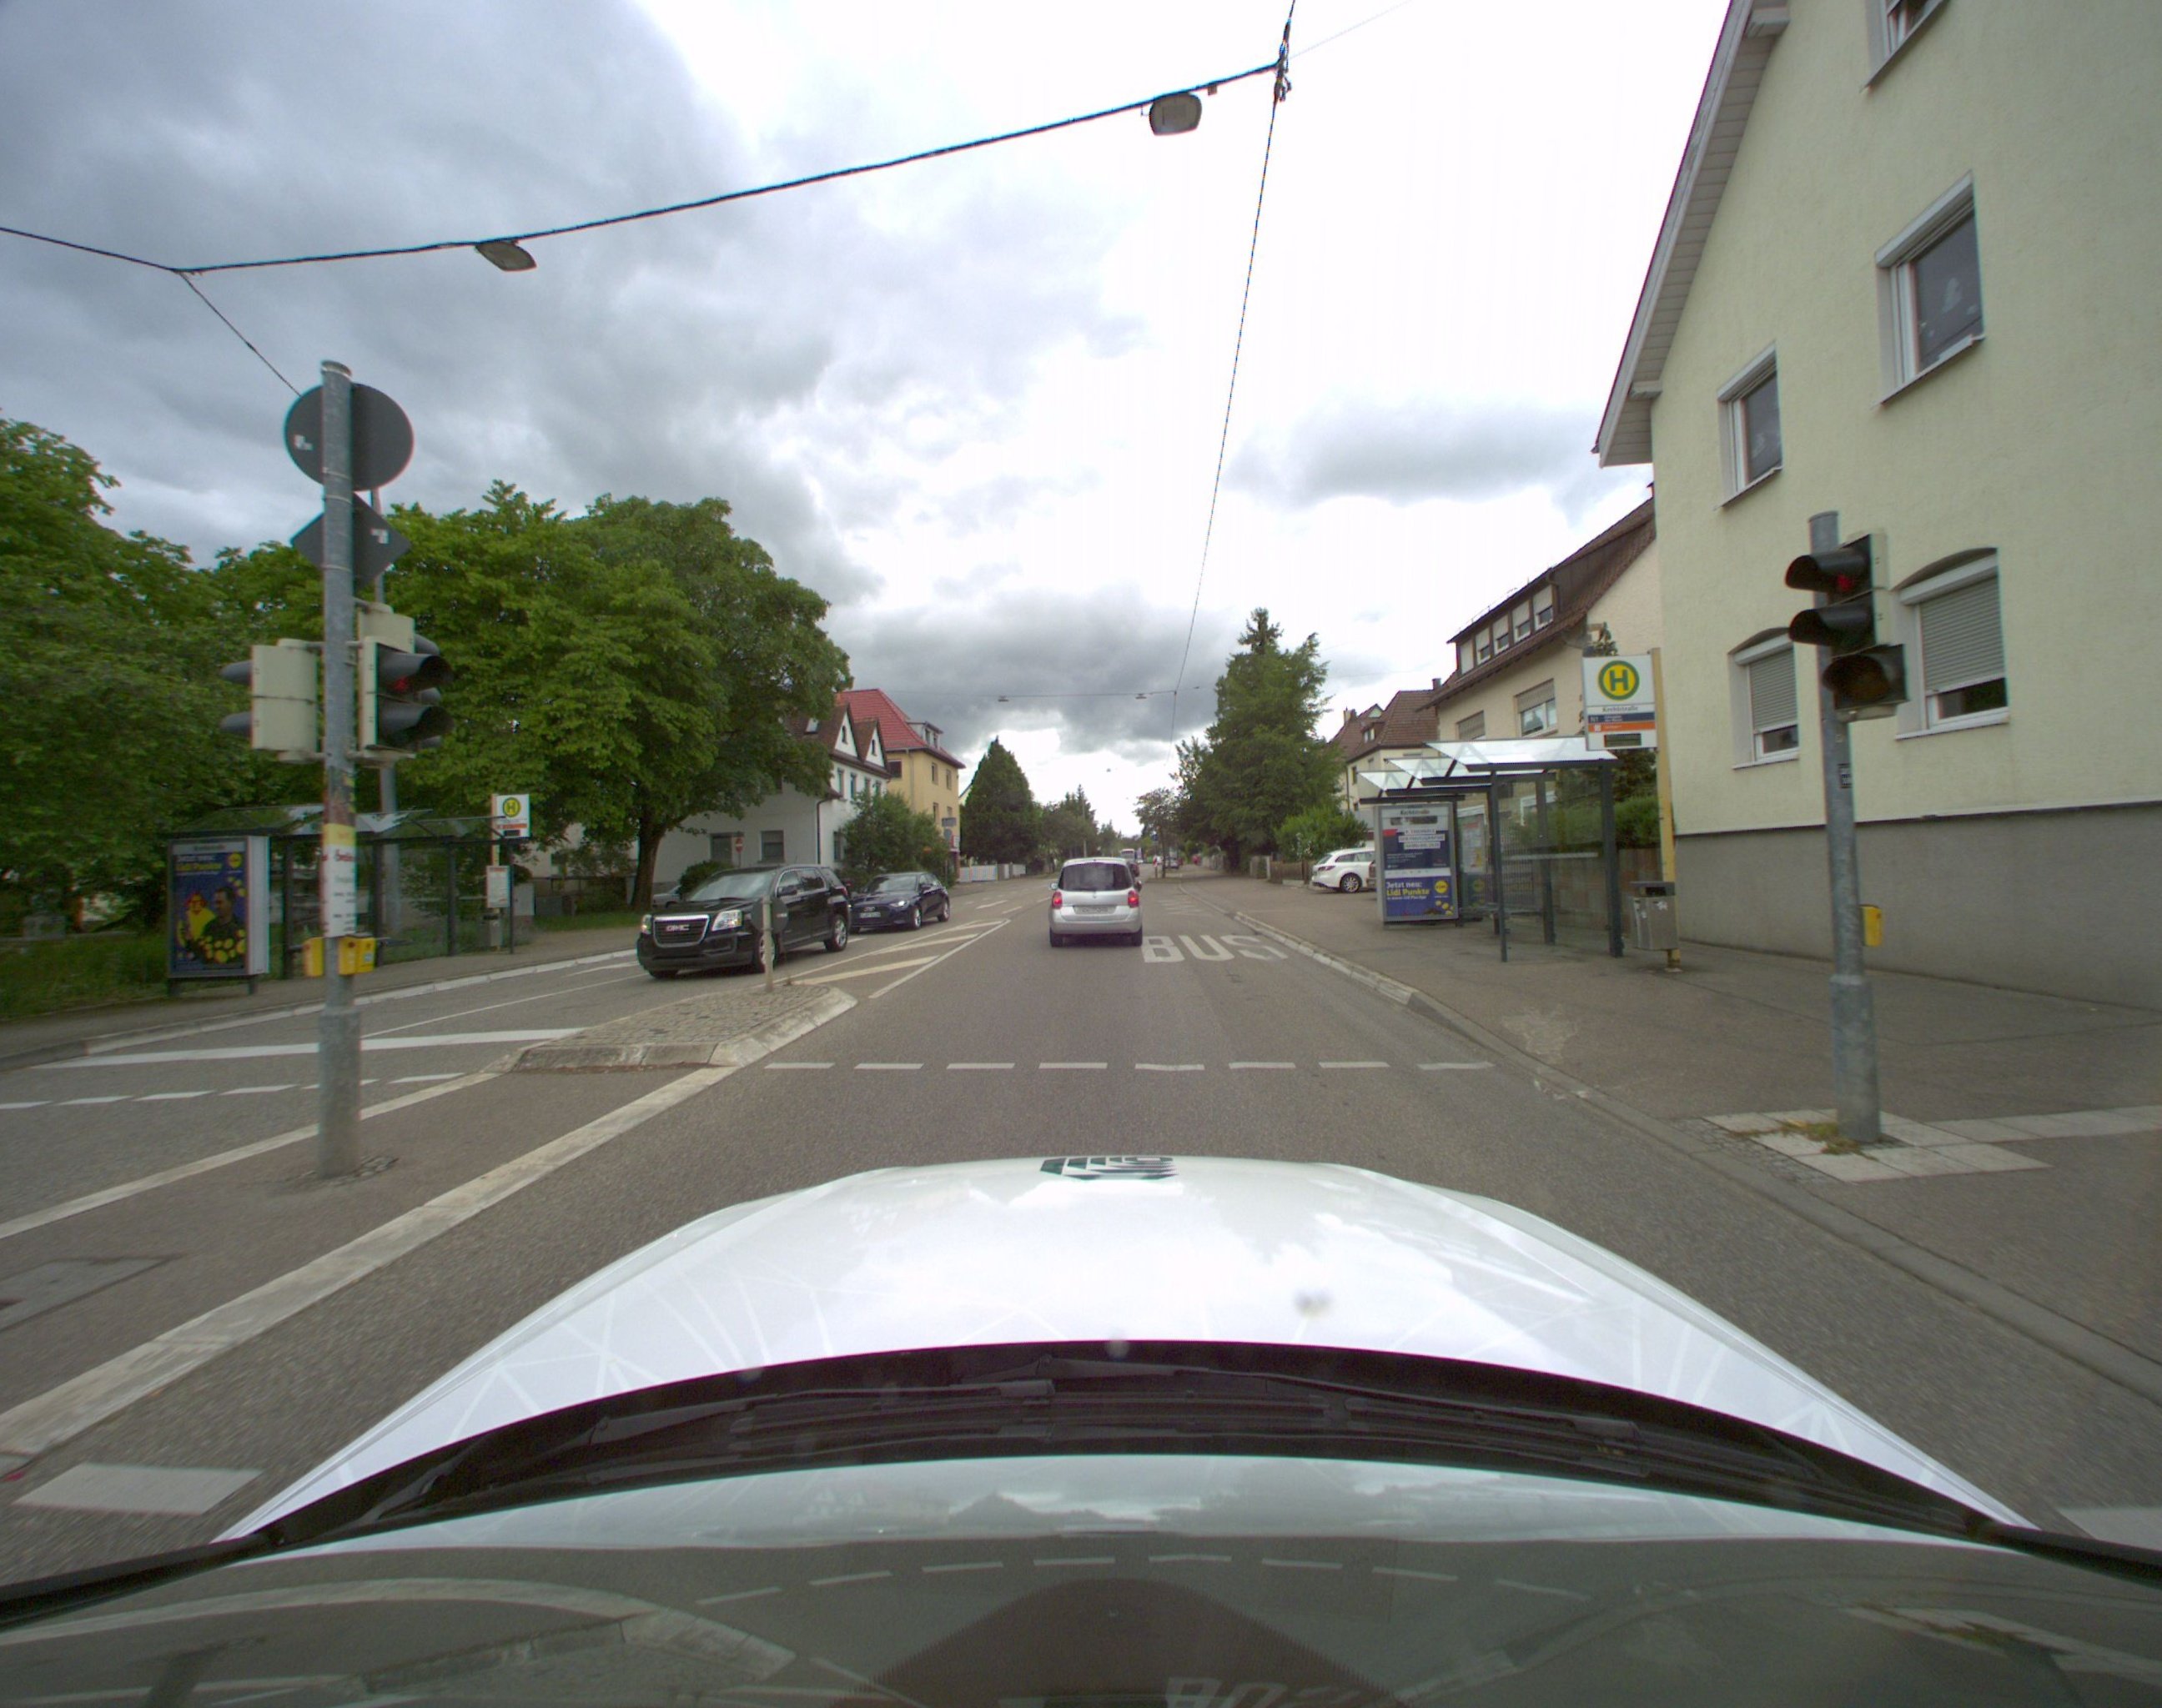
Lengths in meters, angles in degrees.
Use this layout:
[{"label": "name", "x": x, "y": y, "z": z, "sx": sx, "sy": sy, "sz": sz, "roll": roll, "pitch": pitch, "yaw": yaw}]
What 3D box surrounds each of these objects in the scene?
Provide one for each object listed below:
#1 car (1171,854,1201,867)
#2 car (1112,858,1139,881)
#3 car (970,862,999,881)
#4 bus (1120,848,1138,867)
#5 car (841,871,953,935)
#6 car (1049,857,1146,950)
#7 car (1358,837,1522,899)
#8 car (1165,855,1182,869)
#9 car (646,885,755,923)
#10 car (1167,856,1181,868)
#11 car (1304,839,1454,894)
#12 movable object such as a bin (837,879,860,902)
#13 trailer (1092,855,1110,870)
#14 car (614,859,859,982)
[{"label": "car", "x": 15.070, "y": 0.893, "z": 117.209, "sx": 3.977, "sy": 1.496, "sz": 1.808, "roll": -5, "pitch": -1, "yaw": -2}, {"label": "car", "x": 3.488, "y": 1.196, "z": 63.188, "sx": 1.820, "sy": 1.675, "sz": 3.580, "roll": -3, "pitch": -1, "yaw": 6}, {"label": "car", "x": -8.818, "y": 1.575, "z": 74.555, "sx": 1.799, "sy": 1.564, "sz": 4.621, "roll": -5, "pitch": 0, "yaw": 3}, {"label": "bus", "x": 8.729, "y": 0.637, "z": 146.732, "sx": 2.619, "sy": 3.086, "sz": 12.087, "roll": -4, "pitch": -1, "yaw": 5}, {"label": "car", "x": -4.626, "y": 1.184, "z": 21.027, "sx": 1.556, "sy": 1.420, "sz": 4.136, "roll": -3, "pitch": -2, "yaw": 5}, {"label": "car", "x": 0.312, "y": 0.885, "z": 15.878, "sx": 1.624, "sy": 1.557, "sz": 4.000, "roll": -1, "pitch": -1, "yaw": 1}, {"label": "car", "x": 9.935, "y": 0.405, "z": 22.715, "sx": 3.790, "sy": 1.402, "sz": 1.640, "roll": -4, "pitch": -2, "yaw": 0}, {"label": "car", "x": 9.676, "y": 0.825, "z": 84.959, "sx": 1.641, "sy": 1.382, "sz": 4.008, "roll": -2, "pitch": -2, "yaw": 7}, {"label": "car", "x": -16.891, "y": 2.219, "z": 36.294, "sx": 3.969, "sy": 1.332, "sz": 1.724, "roll": -5, "pitch": -2, "yaw": 4}, {"label": "car", "x": 11.896, "y": 0.975, "z": 103.919, "sx": 1.653, "sy": 1.393, "sz": 3.676, "roll": -2, "pitch": -1, "yaw": 9}, {"label": "car", "x": 10.116, "y": 0.443, "z": 27.927, "sx": 4.399, "sy": 1.488, "sz": 1.867, "roll": -4, "pitch": -2, "yaw": 5}, {"label": "movable object such as a bin", "x": -10.717, "y": 1.673, "z": 37.474, "sx": 0.711, "sy": 1.019, "sz": 0.727, "roll": 1, "pitch": 2, "yaw": 38}, {"label": "trailer", "x": 3.083, "y": 1.314, "z": 125.319, "sx": 2.301, "sy": 2.087, "sz": 5.880, "roll": -1, "pitch": -1, "yaw": 5}, {"label": "car", "x": -5.549, "y": 1.005, "z": 13.885, "sx": 1.749, "sy": 1.635, "sz": 4.602, "roll": -4, "pitch": -2, "yaw": 6}]
